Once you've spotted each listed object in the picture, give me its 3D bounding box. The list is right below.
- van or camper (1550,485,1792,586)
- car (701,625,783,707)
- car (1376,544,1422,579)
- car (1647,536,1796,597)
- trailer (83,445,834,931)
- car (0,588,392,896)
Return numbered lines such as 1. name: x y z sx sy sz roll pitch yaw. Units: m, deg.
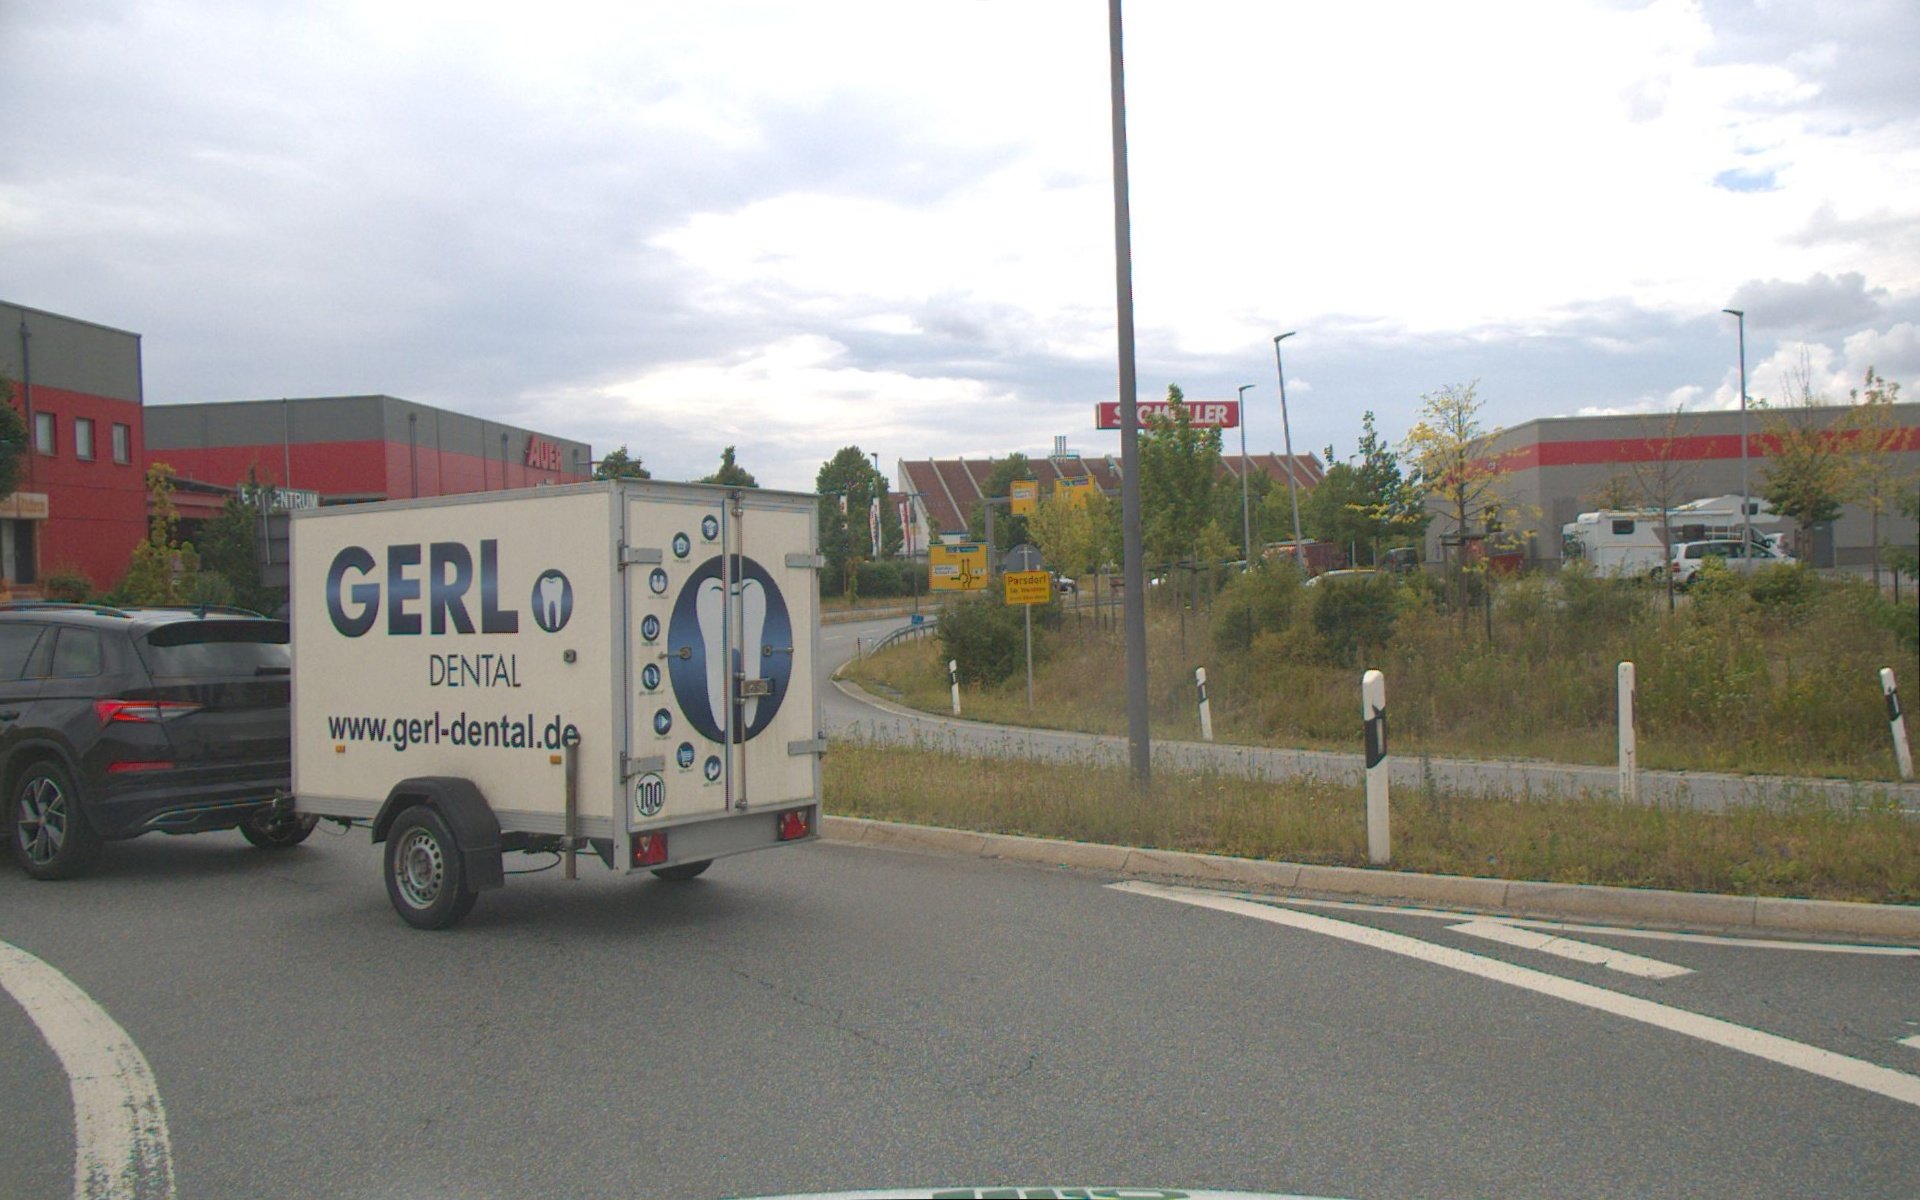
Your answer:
1. van or camper: 25.561 -2.299 59.752 7.551 3.234 2.494 -2 1 5
2. car: -5.515 1.638 42.209 1.833 1.632 3.731 -4 3 -5
3. car: 25.288 -2.201 95.297 1.664 1.842 3.972 -4 1 3
4. car: 24.418 -1.066 53.134 3.963 1.750 1.781 -2 0 8
5. trailer: -2.864 0.430 9.147 4.059 2.128 1.807 -2 -1 34
6. car: -6.110 0.845 11.243 4.518 1.699 1.812 -2 0 32
